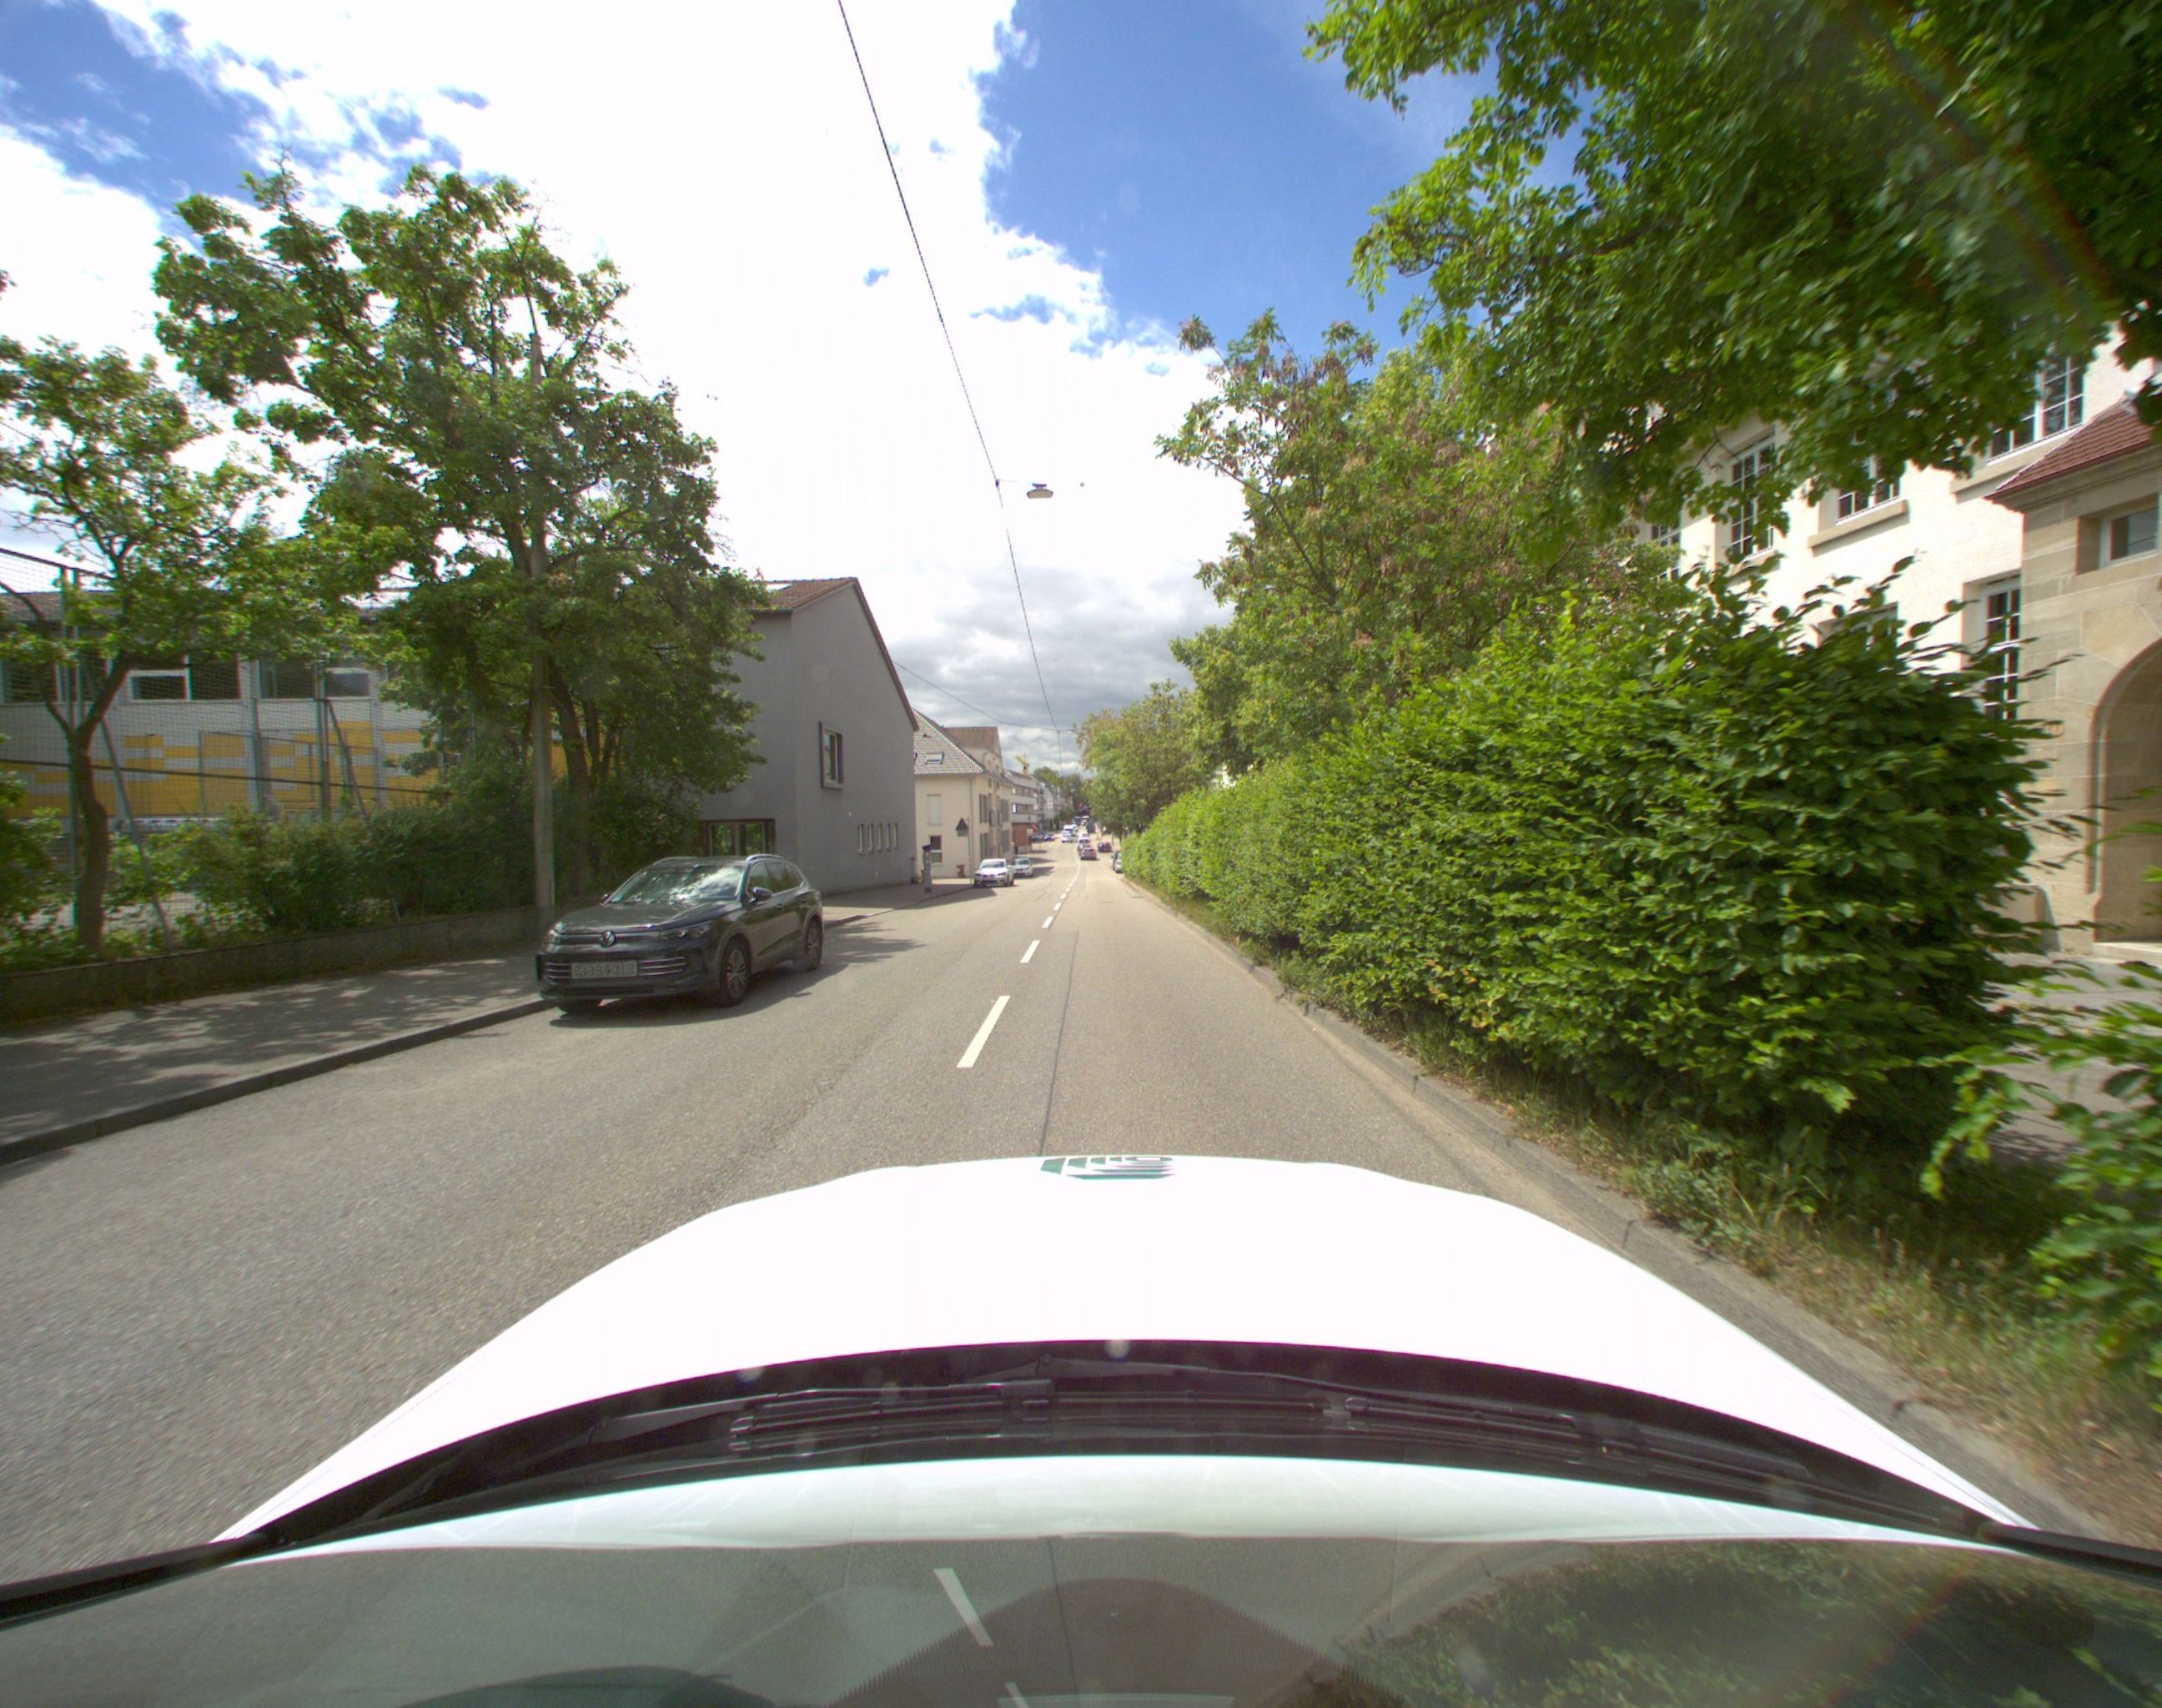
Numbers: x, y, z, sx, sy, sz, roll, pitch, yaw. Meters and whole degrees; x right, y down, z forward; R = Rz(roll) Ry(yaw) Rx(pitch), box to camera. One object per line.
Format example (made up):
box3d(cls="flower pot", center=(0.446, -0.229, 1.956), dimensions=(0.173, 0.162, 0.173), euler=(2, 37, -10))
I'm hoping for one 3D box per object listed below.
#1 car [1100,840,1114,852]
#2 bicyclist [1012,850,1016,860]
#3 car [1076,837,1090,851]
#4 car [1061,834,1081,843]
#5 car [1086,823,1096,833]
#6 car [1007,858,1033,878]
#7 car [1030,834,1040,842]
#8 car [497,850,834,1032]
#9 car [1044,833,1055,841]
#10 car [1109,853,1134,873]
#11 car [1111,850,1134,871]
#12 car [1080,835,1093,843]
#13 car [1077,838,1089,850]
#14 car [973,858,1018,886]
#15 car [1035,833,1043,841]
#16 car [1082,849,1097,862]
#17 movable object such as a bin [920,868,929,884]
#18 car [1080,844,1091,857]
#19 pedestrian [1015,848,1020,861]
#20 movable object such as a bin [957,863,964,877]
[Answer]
box3d(cls="car", center=(3.548, -1.103, 112.466), dimensions=(1.747, 1.370, 4.001), euler=(-1, 3, 0))
box3d(cls="bicyclist", center=(-7.872, 0.094, 95.823), dimensions=(0.456, 1.179, 0.625), euler=(-1, 1, 0))
box3d(cls="car", center=(0.296, -1.464, 115.966), dimensions=(1.830, 1.861, 3.852), euler=(-1, 3, 0))
box3d(cls="car", center=(-1.736, -2.686, 142.611), dimensions=(1.764, 1.557, 4.025), euler=(-2, 0, 31))
box3d(cls="car", center=(2.411, -6.254, 196.397), dimensions=(2.428, 2.318, 5.327), euler=(0, 1, 0))
box3d(cls="car", center=(-4.555, 1.053, 61.195), dimensions=(1.641, 1.418, 3.698), euler=(0, 0, 0))
box3d(cls="car", center=(-8.782, -3.039, 155.365), dimensions=(1.546, 1.376, 3.399), euler=(-1, 0, 0))
box3d(cls="car", center=(-4.574, 0.796, 9.934), dimensions=(1.790, 1.610, 4.643), euler=(-1, 1, -2))
box3d(cls="car", center=(-5.991, -3.240, 155.781), dimensions=(1.865, 1.640, 4.003), euler=(0, 1, 3))
box3d(cls="car", center=(3.265, 0.679, 66.151), dimensions=(1.780, 1.509, 4.365), euler=(-1, 0, 0))
box3d(cls="car", center=(3.615, 0.503, 71.933), dimensions=(1.838, 1.767, 4.515), euler=(-1, 0, 0))
box3d(cls="car", center=(1.074, -2.807, 156.698), dimensions=(1.770, 1.492, 4.015), euler=(0, 1, 13))
box3d(cls="car", center=(0.374, -1.624, 127.116), dimensions=(1.830, 1.862, 3.850), euler=(-1, 1, 0))
box3d(cls="car", center=(-4.491, 0.980, 43.239), dimensions=(1.689, 1.390, 3.870), euler=(0, -2, 4))
box3d(cls="car", center=(-8.336, -3.376, 160.458), dimensions=(1.379, 1.541, 3.399), euler=(-1, 0, 0))
box3d(cls="car", center=(0.985, 0.205, 96.653), dimensions=(1.738, 1.416, 4.000), euler=(-1, 1, 0))
box3d(cls="movable object such as a bin", center=(-9.300, 1.318, 48.340), dimensions=(0.453, 0.929, 0.399), euler=(-2, 0, -1))
box3d(cls="car", center=(0.579, -0.473, 105.484), dimensions=(1.270, 1.527, 3.051), euler=(-1, 4, 0))
box3d(cls="pedestrian", center=(-8.190, 0.052, 104.588), dimensions=(0.627, 1.602, 0.562), euler=(-1, 1, -5))
box3d(cls="movable object such as a bin", center=(-8.523, 1.152, 57.402), dimensions=(0.412, 0.953, 0.391), euler=(-2, 0, -3))
